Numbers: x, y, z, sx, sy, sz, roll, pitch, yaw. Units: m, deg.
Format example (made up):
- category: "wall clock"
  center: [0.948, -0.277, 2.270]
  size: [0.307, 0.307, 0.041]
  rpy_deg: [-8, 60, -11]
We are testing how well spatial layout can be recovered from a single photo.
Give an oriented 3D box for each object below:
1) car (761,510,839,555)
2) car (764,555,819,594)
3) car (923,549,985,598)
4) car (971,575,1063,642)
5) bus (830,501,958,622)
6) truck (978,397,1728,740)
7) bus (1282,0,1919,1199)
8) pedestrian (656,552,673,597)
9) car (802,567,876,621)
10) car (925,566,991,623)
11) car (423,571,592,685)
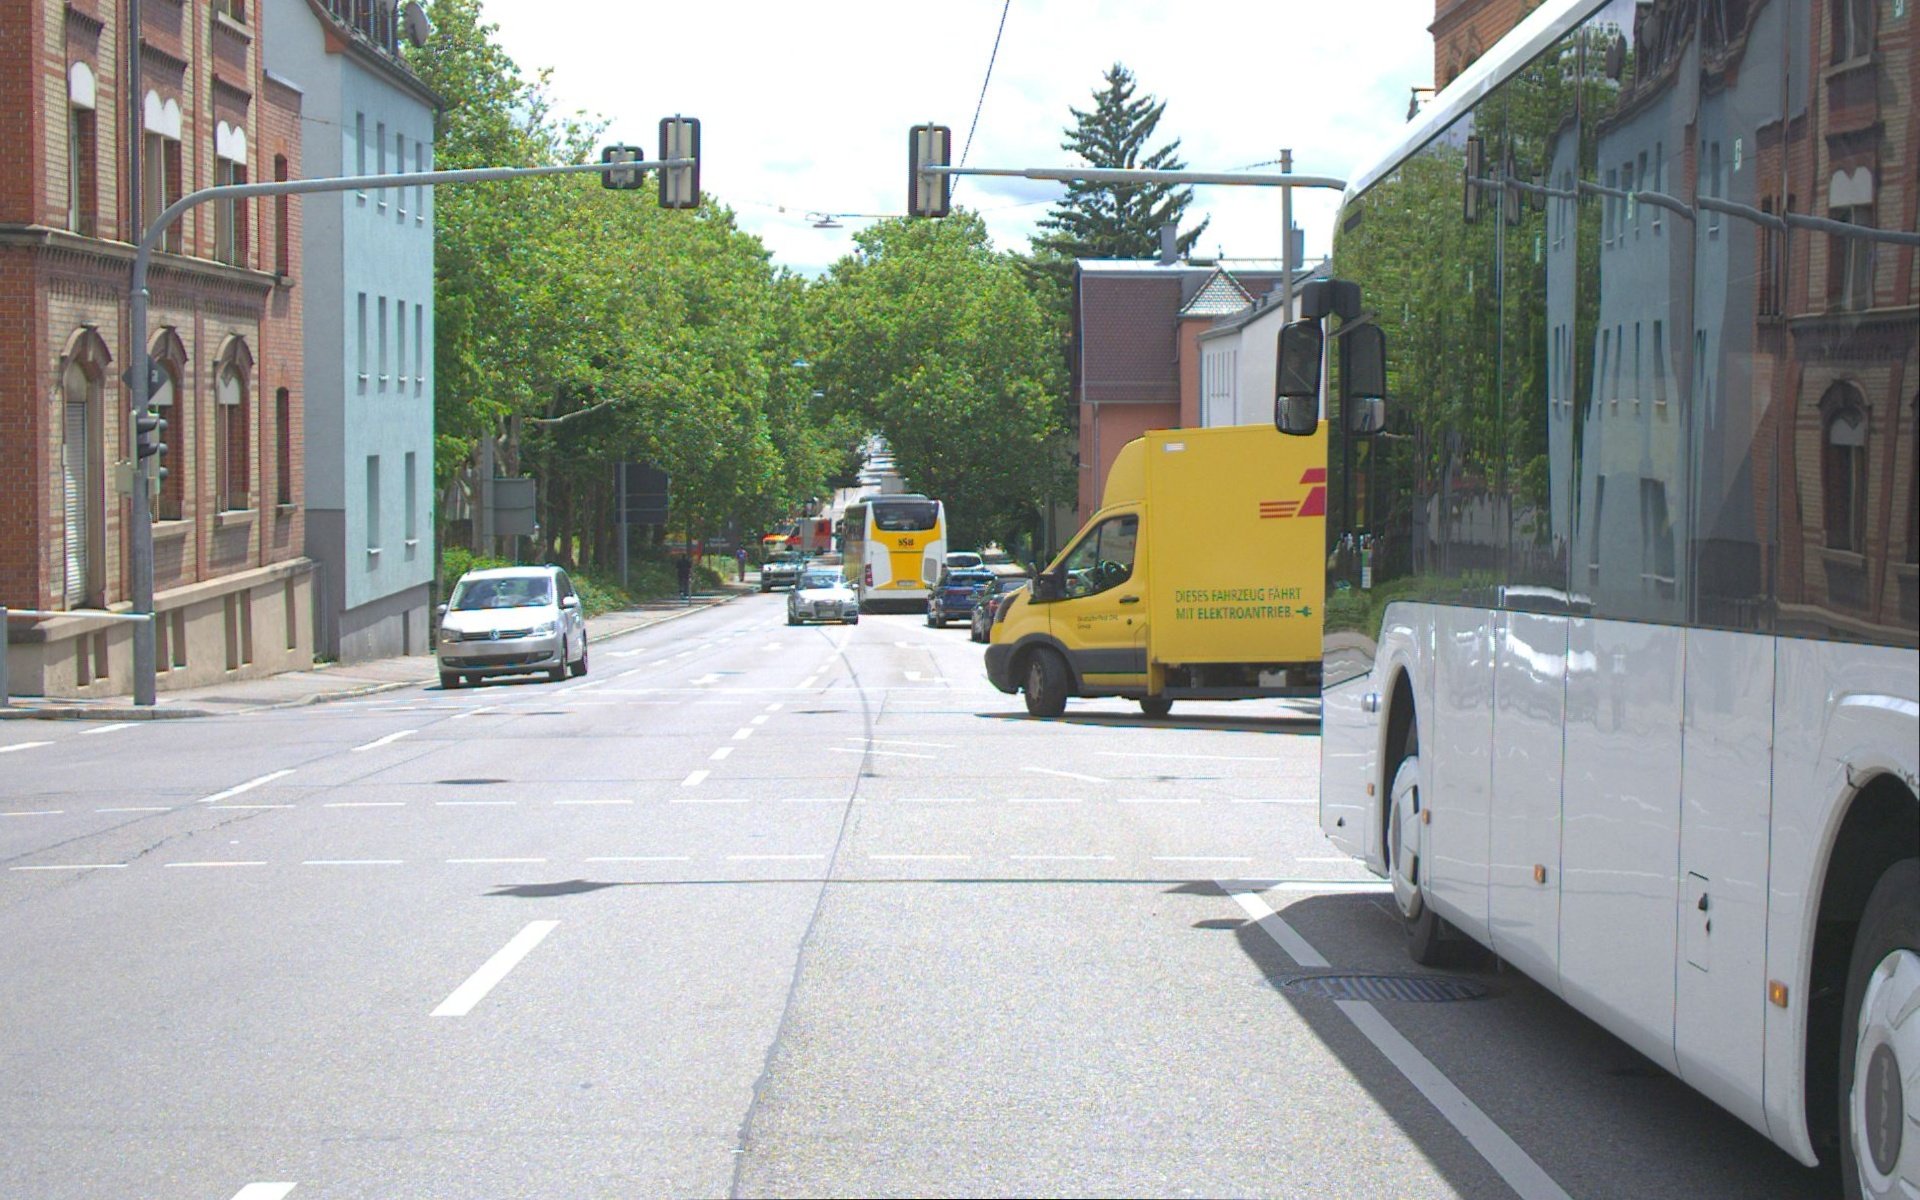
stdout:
- category: "car"
  center: [-11.166, -4.692, 240.236]
  size: [2.146, 3.059, 5.613]
  rpy_deg: [1, 1, 40]
- category: "car"
  center: [-7.275, -1.109, 148.556]
  size: [2.207, 1.607, 4.547]
  rpy_deg: [-1, 1, -1]
- category: "car"
  center: [-0.242, -1.009, 129.071]
  size: [2.091, 1.824, 4.143]
  rpy_deg: [0, 1, -4]
- category: "car"
  center: [1.203, 0.155, 74.777]
  size: [1.865, 1.363, 4.547]
  rpy_deg: [-1, 1, -1]
- category: "bus"
  center: [-2.212, -1.263, 110.218]
  size: [3.300, 3.618, 11.246]
  rpy_deg: [-1, 1, -5]
- category: "truck"
  center: [3.559, -0.322, 32.098]
  size: [6.565, 2.903, 2.544]
  rpy_deg: [1, 1, 38]
- category: "bus"
  center: [3.003, -0.280, 9.245]
  size: [2.904, 3.498, 12.488]
  rpy_deg: [1, 1, -1]
- category: "pedestrian"
  center: [-11.732, -1.020, 136.406]
  size: [0.606, 1.752, 0.654]
  rpy_deg: [-1, 1, -2]
- category: "car"
  center: [-3.248, -0.173, 92.729]
  size: [1.865, 1.363, 4.547]
  rpy_deg: [-1, 1, -1]
- category: "car"
  center: [-0.071, -0.156, 85.979]
  size: [1.608, 1.371, 4.000]
  rpy_deg: [0, 1, -1]
- category: "car"
  center: [-6.571, 0.374, 50.320]
  size: [1.935, 1.558, 4.389]
  rpy_deg: [-1, 1, -1]
